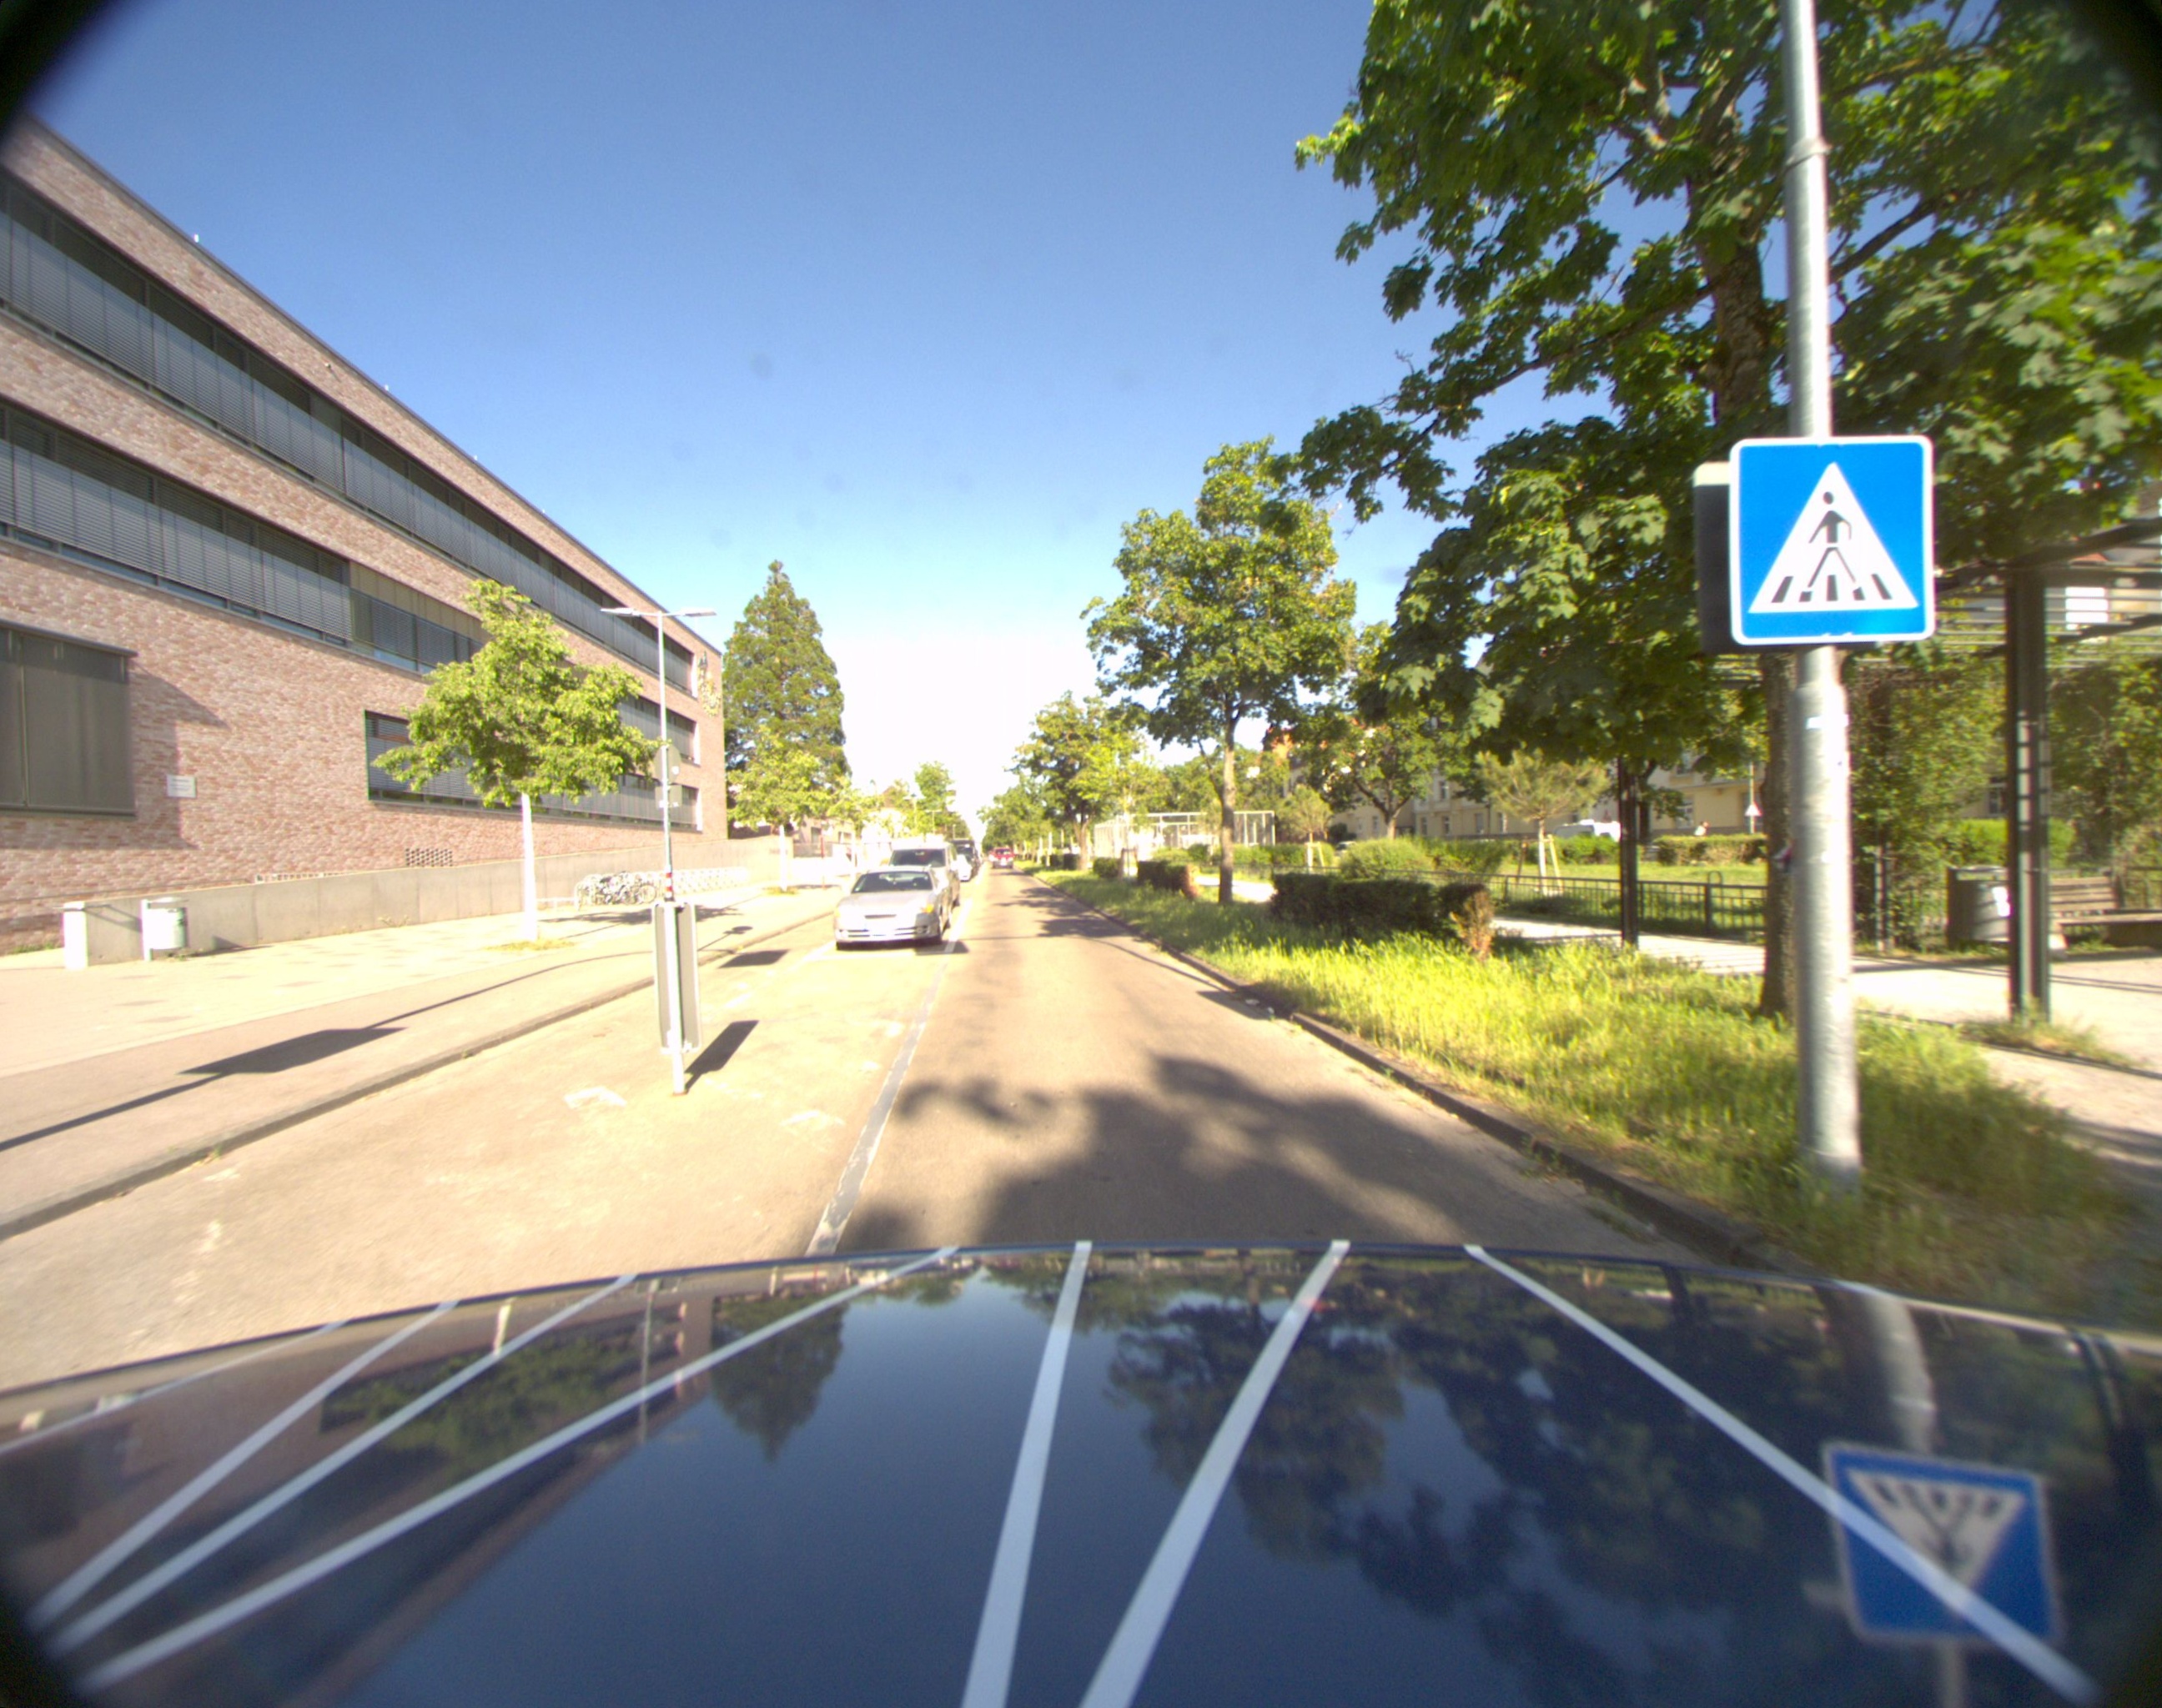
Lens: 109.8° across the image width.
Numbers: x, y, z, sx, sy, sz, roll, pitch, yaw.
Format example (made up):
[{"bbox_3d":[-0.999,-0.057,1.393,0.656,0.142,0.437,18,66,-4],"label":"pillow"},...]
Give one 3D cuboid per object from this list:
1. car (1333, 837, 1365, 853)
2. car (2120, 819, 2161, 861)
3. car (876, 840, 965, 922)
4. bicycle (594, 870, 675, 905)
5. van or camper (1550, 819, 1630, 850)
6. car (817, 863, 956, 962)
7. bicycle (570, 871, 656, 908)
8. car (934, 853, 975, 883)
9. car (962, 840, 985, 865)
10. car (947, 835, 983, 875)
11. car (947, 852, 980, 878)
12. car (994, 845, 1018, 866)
[{"bbox_3d":[30.829,-1.001,87.414,1.956,1.783,3.997,-2,1,-6],"label":"car"},{"bbox_3d":[35.585,-0.464,23.488,1.753,1.323,3.710,-2,1,-9],"label":"car"},{"bbox_3d":[-4.171,0.620,20.434,1.789,1.899,4.623,-2,1,-6],"label":"car"},{"bbox_3d":[-14.447,1.075,24.607,2.085,1.058,0.859,1,1,-7],"label":"bicycle"},{"bbox_3d":[35.138,-1.356,52.608,2.275,2.002,4.370,-2,1,-7],"label":"van or camper"},{"bbox_3d":[-3.287,0.893,13.762,1.653,1.324,4.931,-2,1,-6],"label":"car"},{"bbox_3d":[-14.336,1.076,23.323,2.031,1.057,0.882,1,1,-8],"label":"bicycle"},{"bbox_3d":[-6.644,0.695,40.325,1.826,1.412,4.037,-2,1,-6],"label":"car"},{"bbox_3d":[-11.750,-0.208,83.557,2.197,2.583,6.040,-2,1,-6],"label":"car"},{"bbox_3d":[-8.098,0.015,53.638,2.075,2.583,6.198,-2,1,-6],"label":"car"},{"bbox_3d":[-7.185,0.637,46.680,1.716,1.412,3.921,-2,1,-6],"label":"car"},{"bbox_3d":[-6.992,0.116,71.478,2.022,1.867,4.738,-2,1,-3],"label":"car"}]
